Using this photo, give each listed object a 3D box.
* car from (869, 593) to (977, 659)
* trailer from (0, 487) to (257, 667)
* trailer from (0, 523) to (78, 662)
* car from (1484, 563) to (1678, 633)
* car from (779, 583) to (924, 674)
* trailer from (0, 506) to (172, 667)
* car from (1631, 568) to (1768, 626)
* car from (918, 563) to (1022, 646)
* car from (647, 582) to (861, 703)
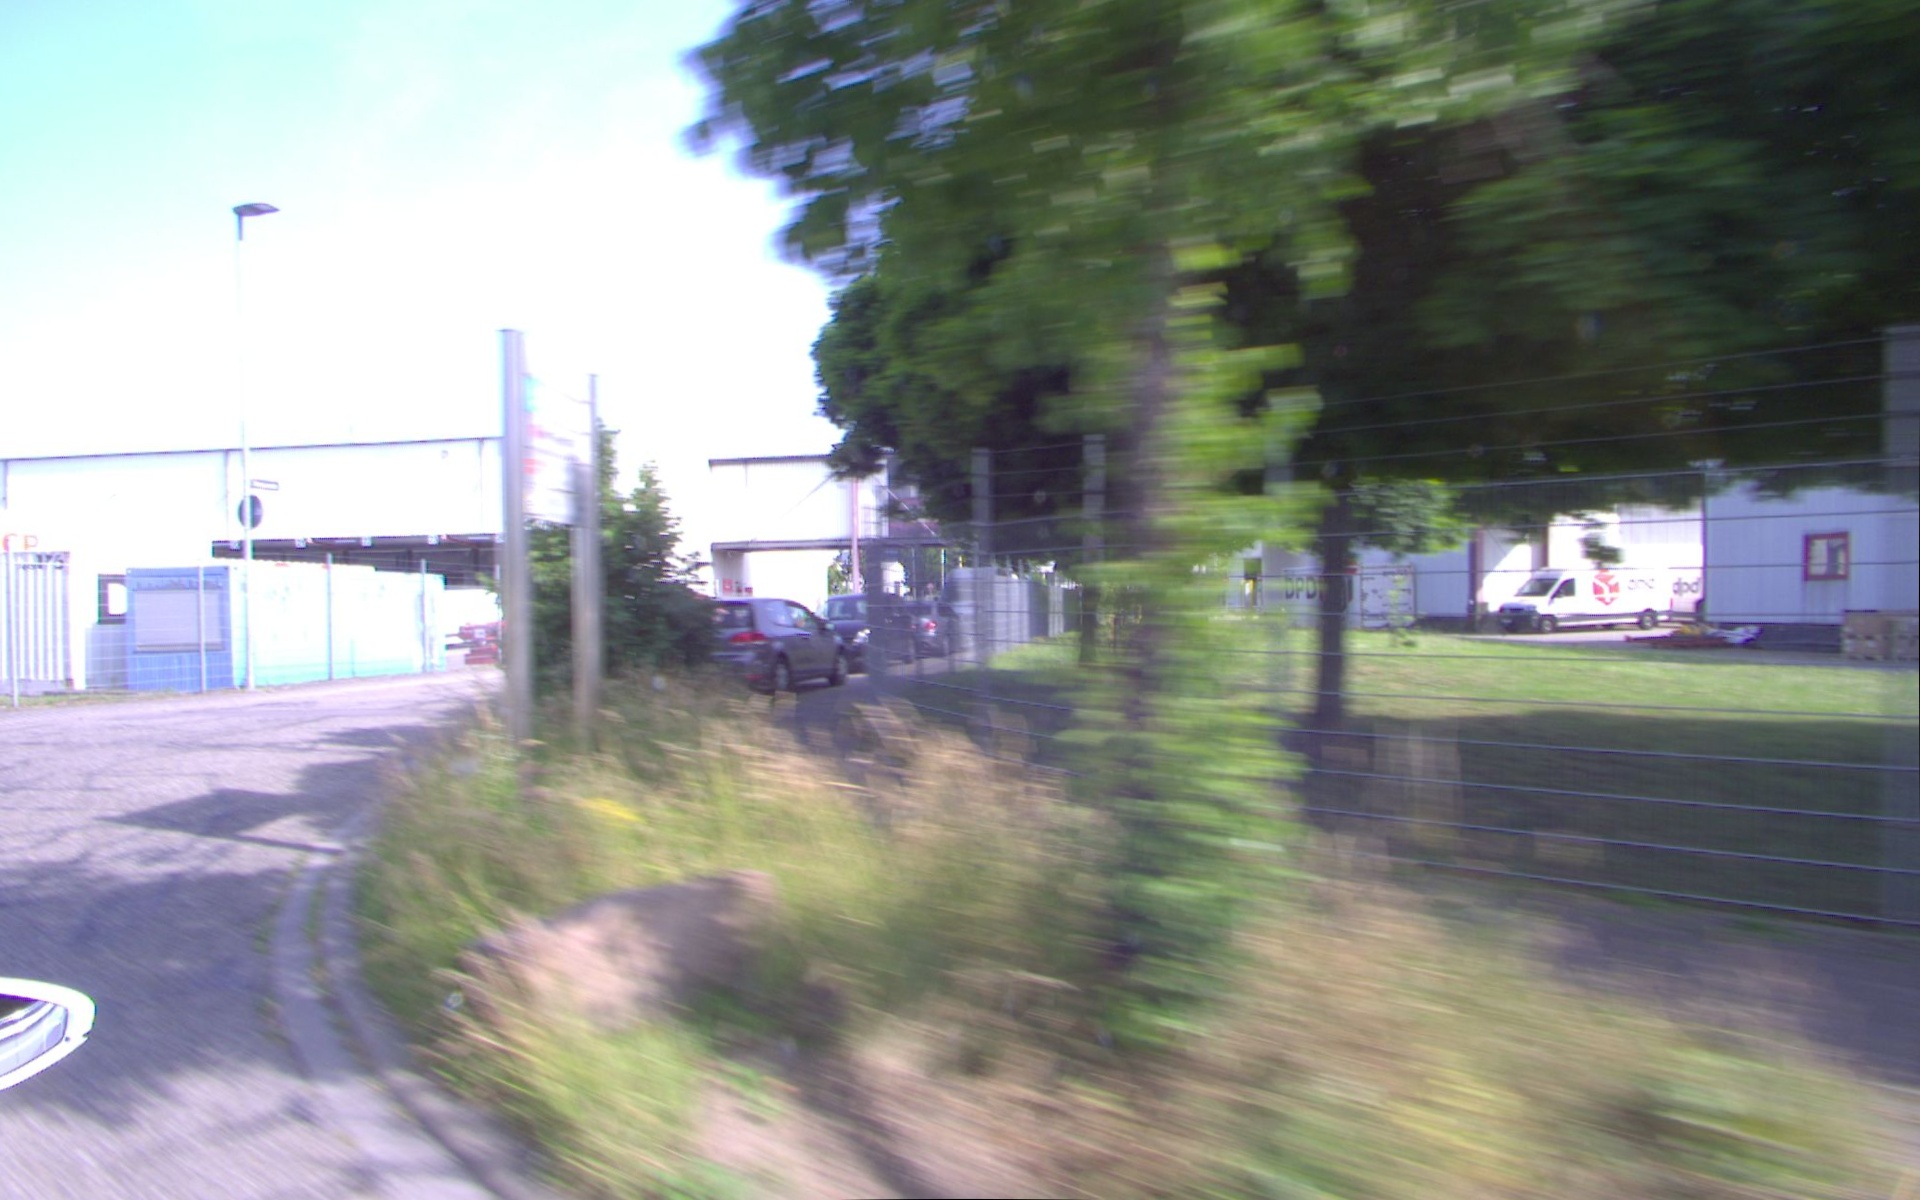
[{"bbox_3d":[-0.877,0.638,26.357,1.696,1.537,4.488,-2,-1,13],"label":"car"},{"bbox_3d":[-22.021,-0.435,24.281,2.724,3.944,8.559,-2,-1,11],"label":"trailer"},{"bbox_3d":[-27.953,-0.227,25.313,2.737,3.809,8.758,-1,-1,9],"label":"trailer"},{"bbox_3d":[24.126,-0.080,38.971,6.573,2.551,2.173,-1,1,-9],"label":"car"},{"bbox_3d":[-2.156,0.572,21.167,1.842,1.646,4.266,-3,-1,11],"label":"car"},{"bbox_3d":[-24.894,-0.322,24.953,2.723,3.946,8.557,0,1,10],"label":"trailer"},{"bbox_3d":[31.280,-0.159,42.592,1.894,2.320,4.845,-1,1,-6],"label":"car"},{"bbox_3d":[0.510,0.174,34.938,2.167,2.515,6.842,-3,-1,13],"label":"car"},{"bbox_3d":[-2.970,0.593,15.334,1.696,1.543,3.958,-3,-1,12],"label":"car"}]
